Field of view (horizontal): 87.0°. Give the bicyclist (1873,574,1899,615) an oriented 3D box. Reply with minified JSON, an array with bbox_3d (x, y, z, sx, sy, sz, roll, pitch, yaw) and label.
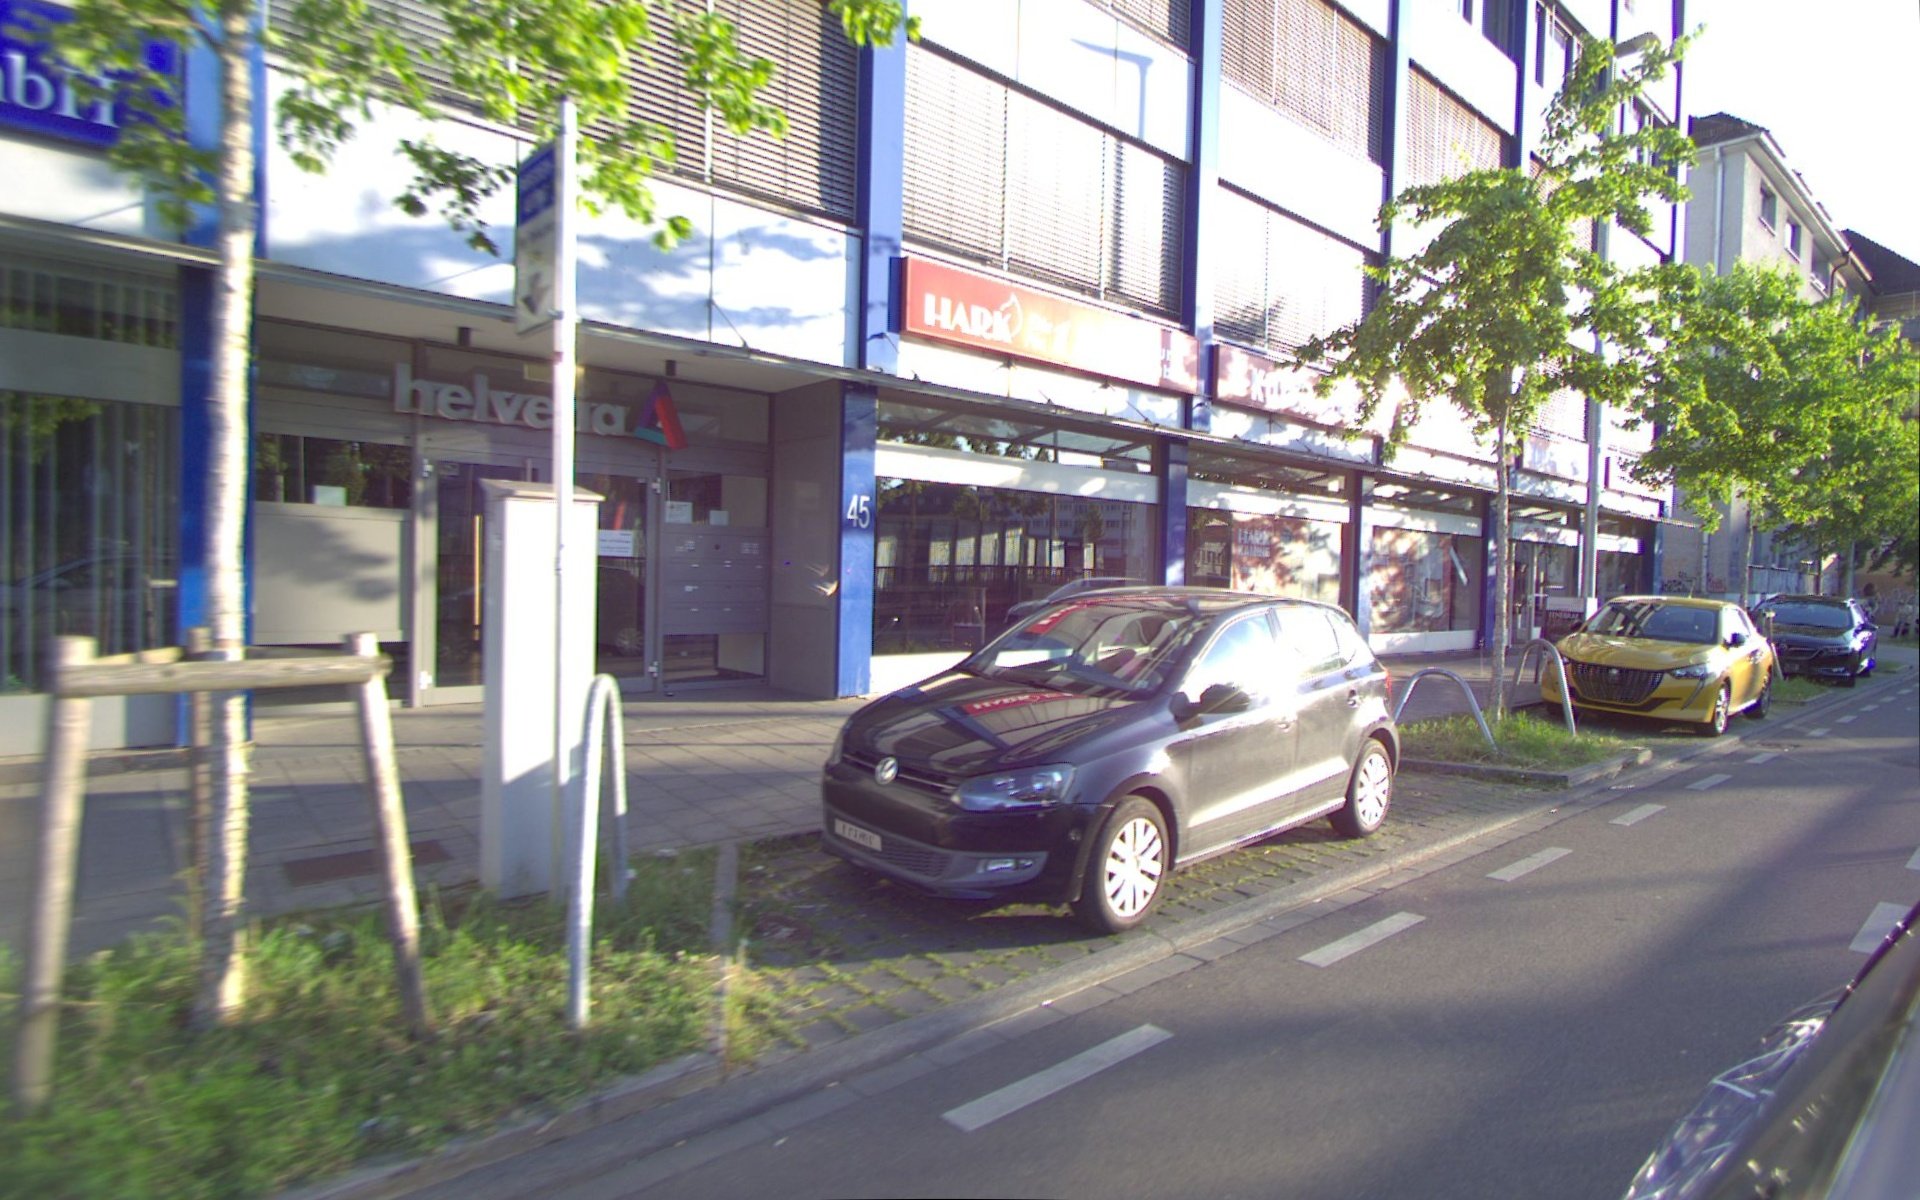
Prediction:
[{"bbox_3d":[34.848,-0.222,38.100,0.612,1.493,0.559,0,5,-43],"label":"bicyclist"}]

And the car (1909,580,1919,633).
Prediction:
[{"bbox_3d":[32.740,0.246,33.246,4.449,1.674,1.761,0,4,-41],"label":"car"}]

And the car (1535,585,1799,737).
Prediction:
[{"bbox_3d":[8.602,0.590,12.177,4.059,1.472,1.686,-1,3,-42],"label":"car"}]

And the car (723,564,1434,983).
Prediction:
[{"bbox_3d":[0.928,0.588,5.731,4.060,1.472,1.821,-1,3,-44],"label":"car"}]

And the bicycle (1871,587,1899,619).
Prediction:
[{"bbox_3d":[34.870,0.106,38.146,1.941,1.143,0.555,-1,5,-43],"label":"bicycle"}]

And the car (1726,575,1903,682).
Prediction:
[{"bbox_3d":[15.810,0.430,18.628,4.729,1.585,1.823,0,6,-43],"label":"car"}]
